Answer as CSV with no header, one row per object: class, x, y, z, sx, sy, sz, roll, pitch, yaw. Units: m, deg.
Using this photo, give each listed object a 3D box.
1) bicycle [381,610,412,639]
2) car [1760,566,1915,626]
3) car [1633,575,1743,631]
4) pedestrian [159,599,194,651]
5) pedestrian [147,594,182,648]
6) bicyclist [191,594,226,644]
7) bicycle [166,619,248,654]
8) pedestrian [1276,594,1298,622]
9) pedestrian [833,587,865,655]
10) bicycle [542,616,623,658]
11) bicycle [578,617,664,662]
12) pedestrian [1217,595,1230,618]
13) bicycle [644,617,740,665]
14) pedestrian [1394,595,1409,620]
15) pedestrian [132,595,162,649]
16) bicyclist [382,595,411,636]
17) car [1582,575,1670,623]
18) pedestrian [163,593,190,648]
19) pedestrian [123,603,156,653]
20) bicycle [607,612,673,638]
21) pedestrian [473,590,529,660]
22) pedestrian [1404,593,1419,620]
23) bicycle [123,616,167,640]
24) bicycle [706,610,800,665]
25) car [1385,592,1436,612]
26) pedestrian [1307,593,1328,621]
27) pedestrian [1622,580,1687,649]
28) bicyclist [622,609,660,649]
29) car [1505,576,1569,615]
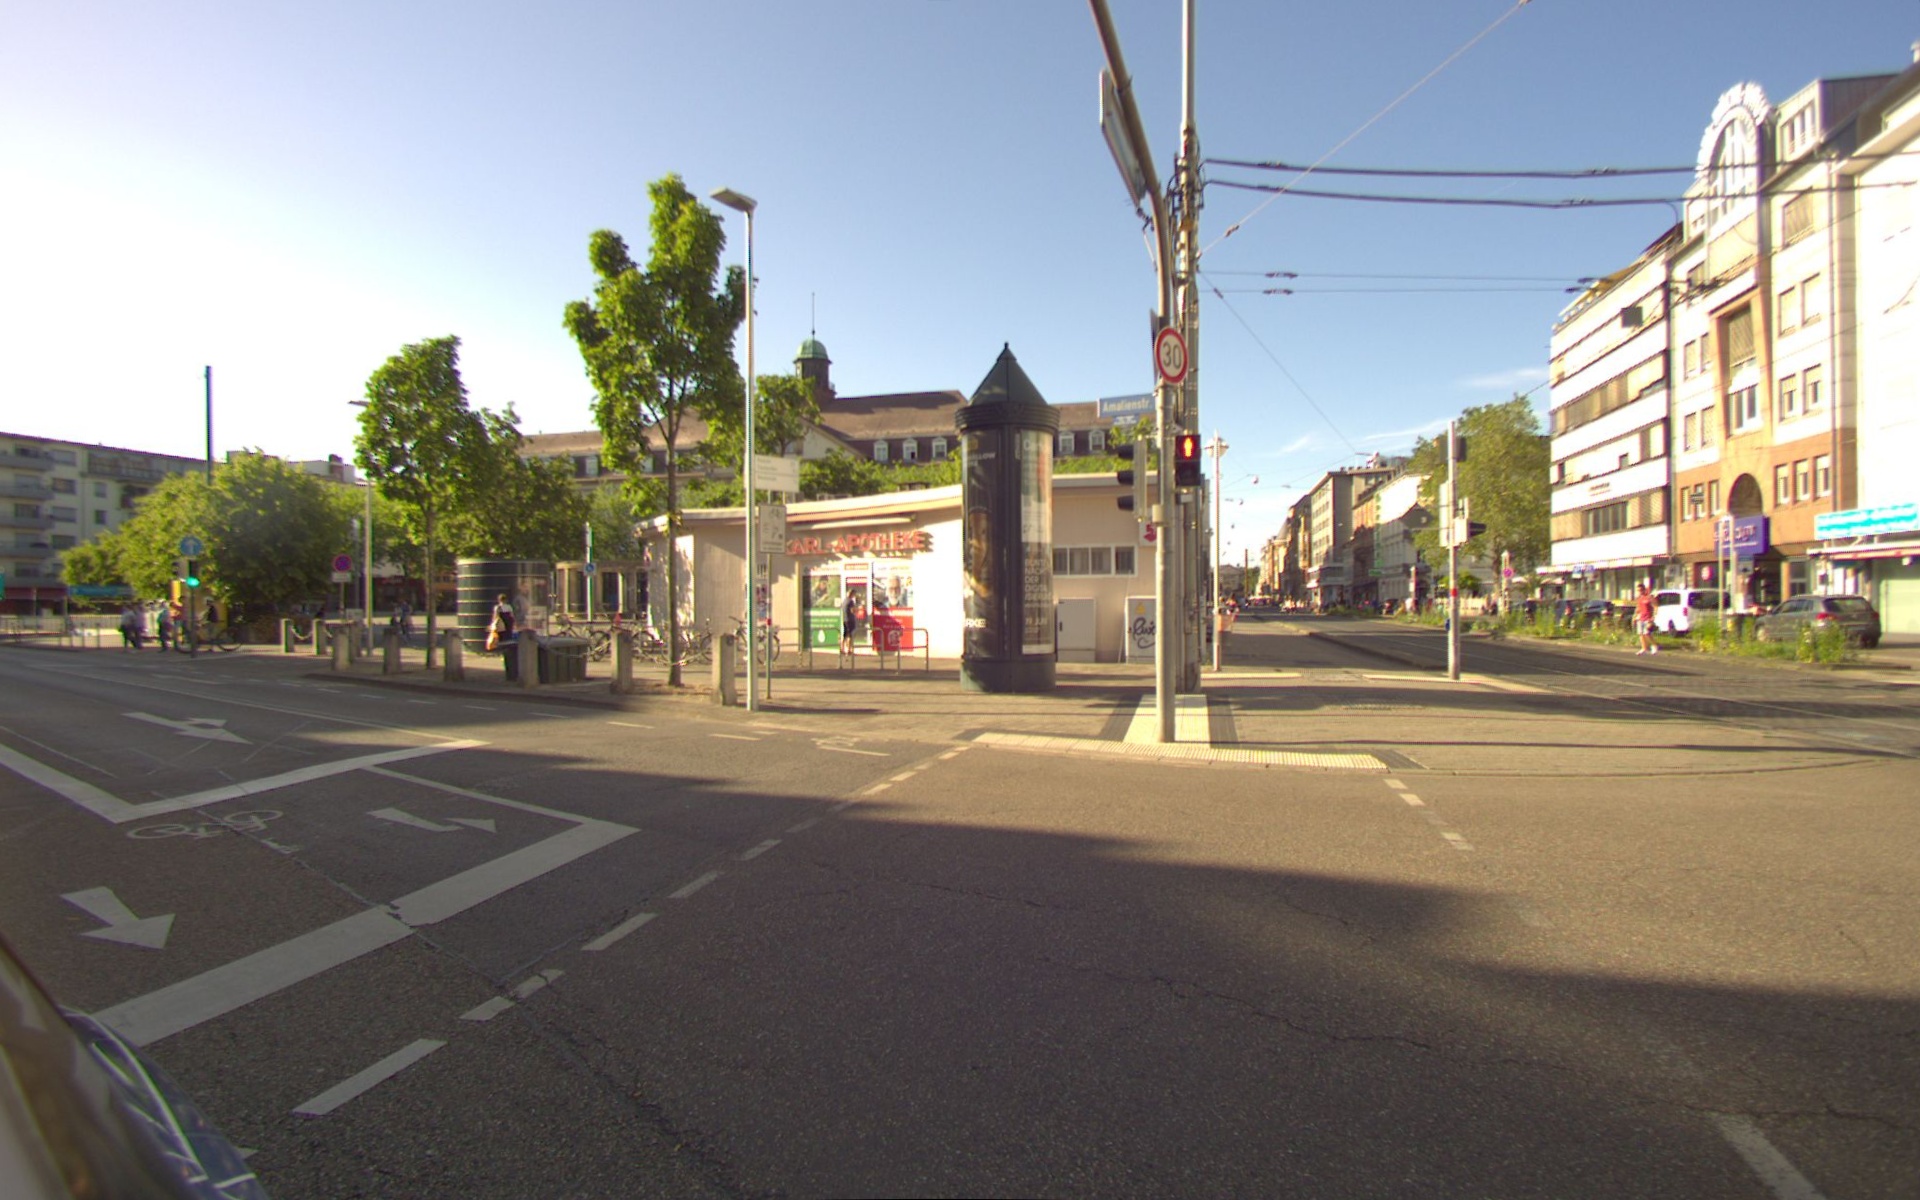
bicycle,-22.918,0.971,41.160,0.927,1.141,2.486,-1,0,-33
car,27.019,-0.107,31.345,1.981,1.719,3.982,-1,0,14
car,28.311,0.119,39.550,1.983,2.029,4.815,-1,0,17
pedestrian,-27.661,0.870,35.731,0.772,1.825,0.590,-1,0,-5
pedestrian,-27.408,0.728,34.873,0.776,1.825,0.587,-1,0,13
bicyclist,-25.450,0.622,34.271,0.791,1.660,0.997,-2,1,-29
bicycle,-25.457,1.228,34.256,2.139,1.080,0.766,-2,1,-30
pedestrian,32.794,0.772,101.386,1.939,2.811,1.368,-1,0,23
pedestrian,-2.871,0.538,26.186,0.610,1.722,0.514,-1,-1,38
bicycle,-10.066,0.965,27.007,1.862,1.010,0.766,-2,1,-43
bicycle,-8.367,0.953,25.015,1.862,1.010,0.766,-2,1,-43
pedestrian,14.872,0.374,57.182,0.615,1.283,0.778,-1,0,8
bicycle,-6.312,0.944,23.856,1.986,1.010,0.890,-1,0,-37
pedestrian,29.267,0.487,67.117,0.694,1.637,0.582,-1,0,-32
pedestrian,-28.731,0.777,35.786,0.640,1.871,0.627,-1,0,-20
bicyclist,-22.872,0.605,41.088,0.927,1.620,1.173,-1,0,-33
car,29.540,-0.051,45.048,1.981,2.029,3.982,-1,0,14
pedestrian,-28.436,0.737,36.712,0.783,1.932,0.601,-1,0,40
pedestrian,-28.426,0.949,35.066,0.676,1.686,0.699,-1,0,-20
bicycle,-13.444,1.041,42.521,2.529,1.015,0.787,-1,0,-28
pedestrian,-11.497,0.612,25.331,1.085,1.710,0.890,-1,1,42
pedestrian,29.726,0.410,66.575,0.694,1.728,0.582,-1,0,-32
bicycle,-36.892,1.247,45.827,1.507,1.039,0.365,-1,0,-37
bicycle,-4.557,0.796,22.382,0.753,1.096,1.968,-1,1,40
car,41.346,0.181,93.028,3.963,1.811,1.990,-1,0,15
pedestrian,35.802,0.702,101.380,1.828,2.811,1.283,-1,0,23
pedestrian,17.146,0.348,24.995,0.929,1.676,0.920,-1,0,-15
bicyclist,-13.423,1.218,42.535,1.348,1.609,0.985,-2,1,-28
car,31.888,-0.227,56.039,1.981,2.029,3.982,-1,0,14
